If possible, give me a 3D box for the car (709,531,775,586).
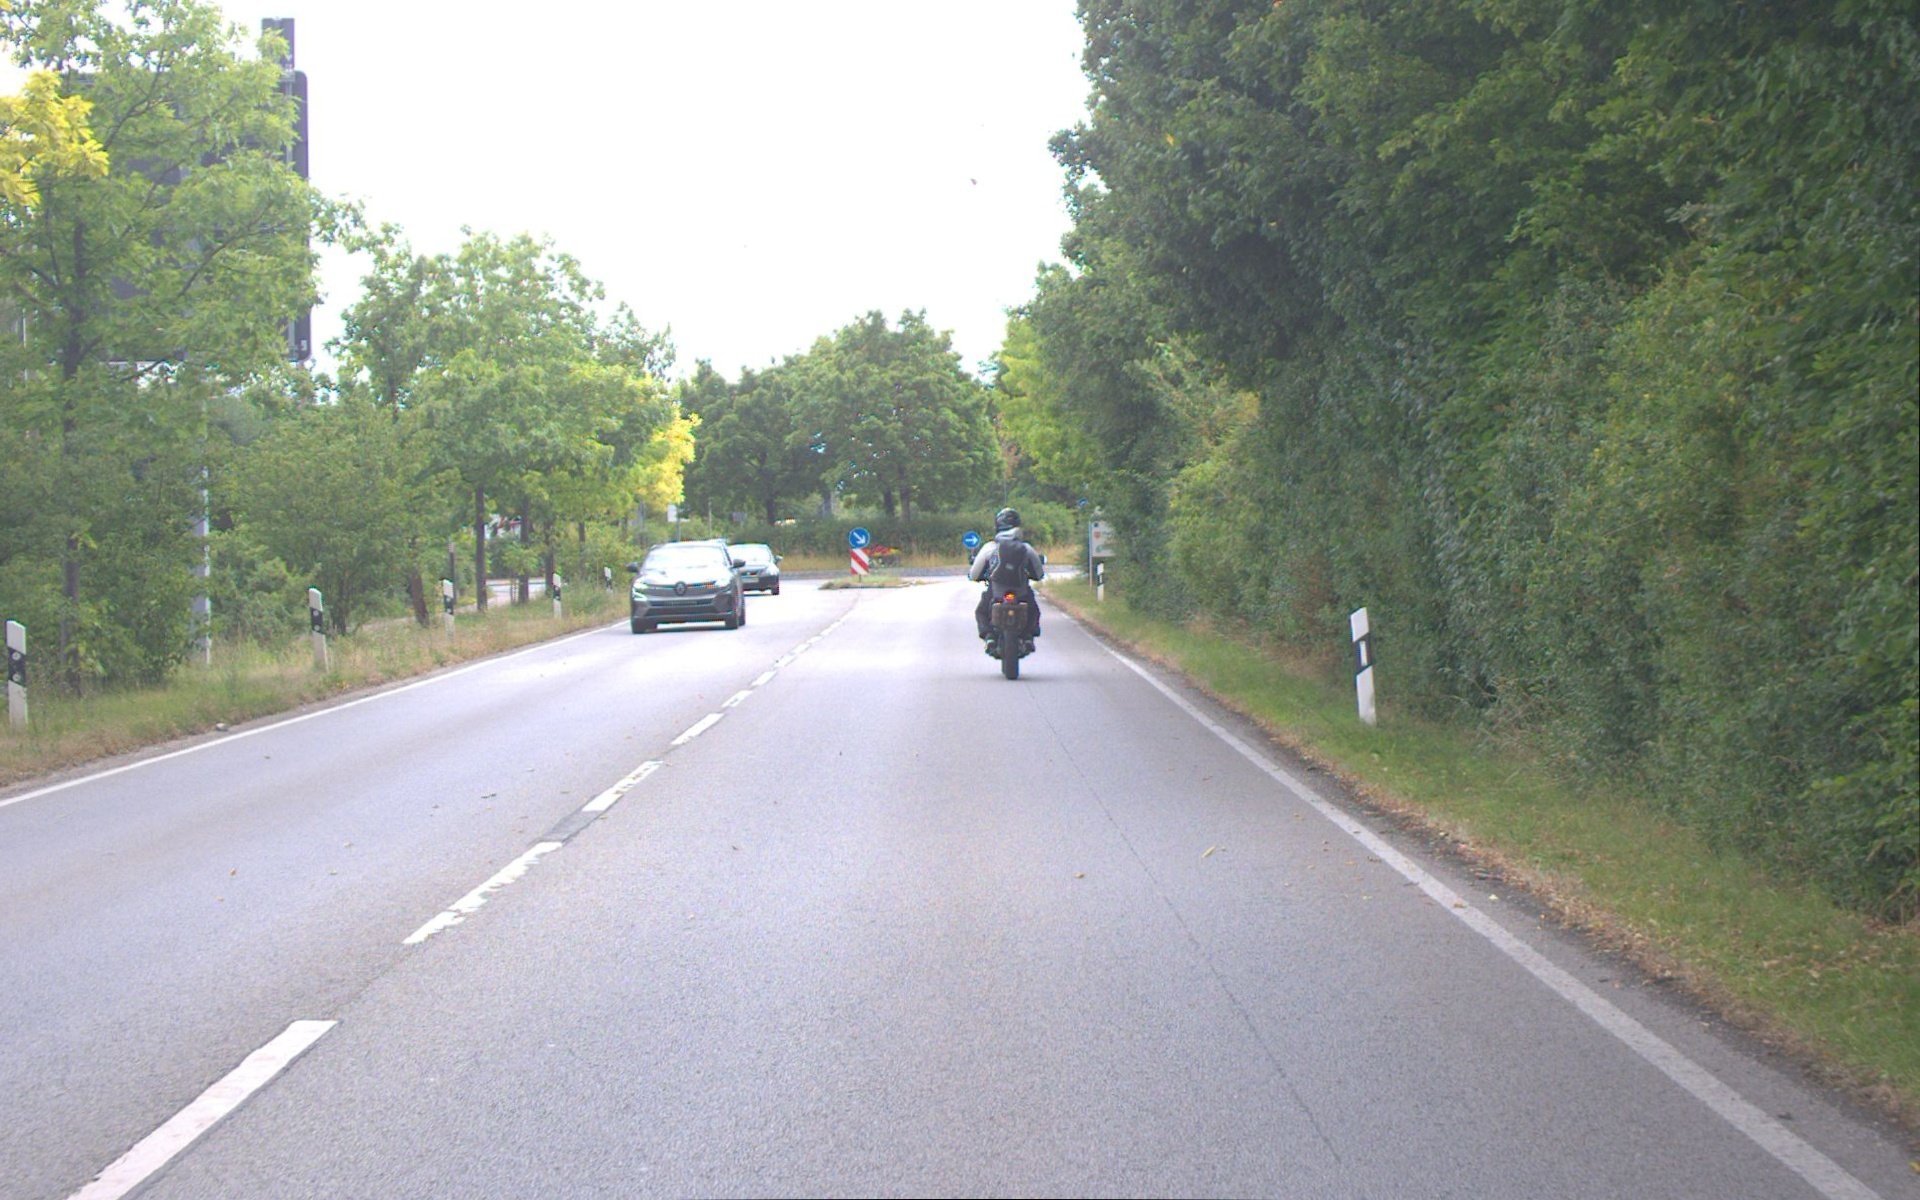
[{"bbox_3d":[-6.025,-1.154,95.204,1.676,1.406,4.013,-3,1,-2],"label":"car"}]

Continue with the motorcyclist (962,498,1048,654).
[{"bbox_3d":[0.467,-0.262,36.478,0.861,1.618,1.191,-1,1,0],"label":"motorcyclist"}]

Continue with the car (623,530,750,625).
[{"bbox_3d":[-4.640,-0.413,58.873,1.815,1.489,4.204,-2,1,-1],"label":"car"}]

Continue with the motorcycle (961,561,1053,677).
[{"bbox_3d":[0.482,0.179,36.412,0.896,1.154,2.620,-1,1,-1],"label":"motorcycle"}]
